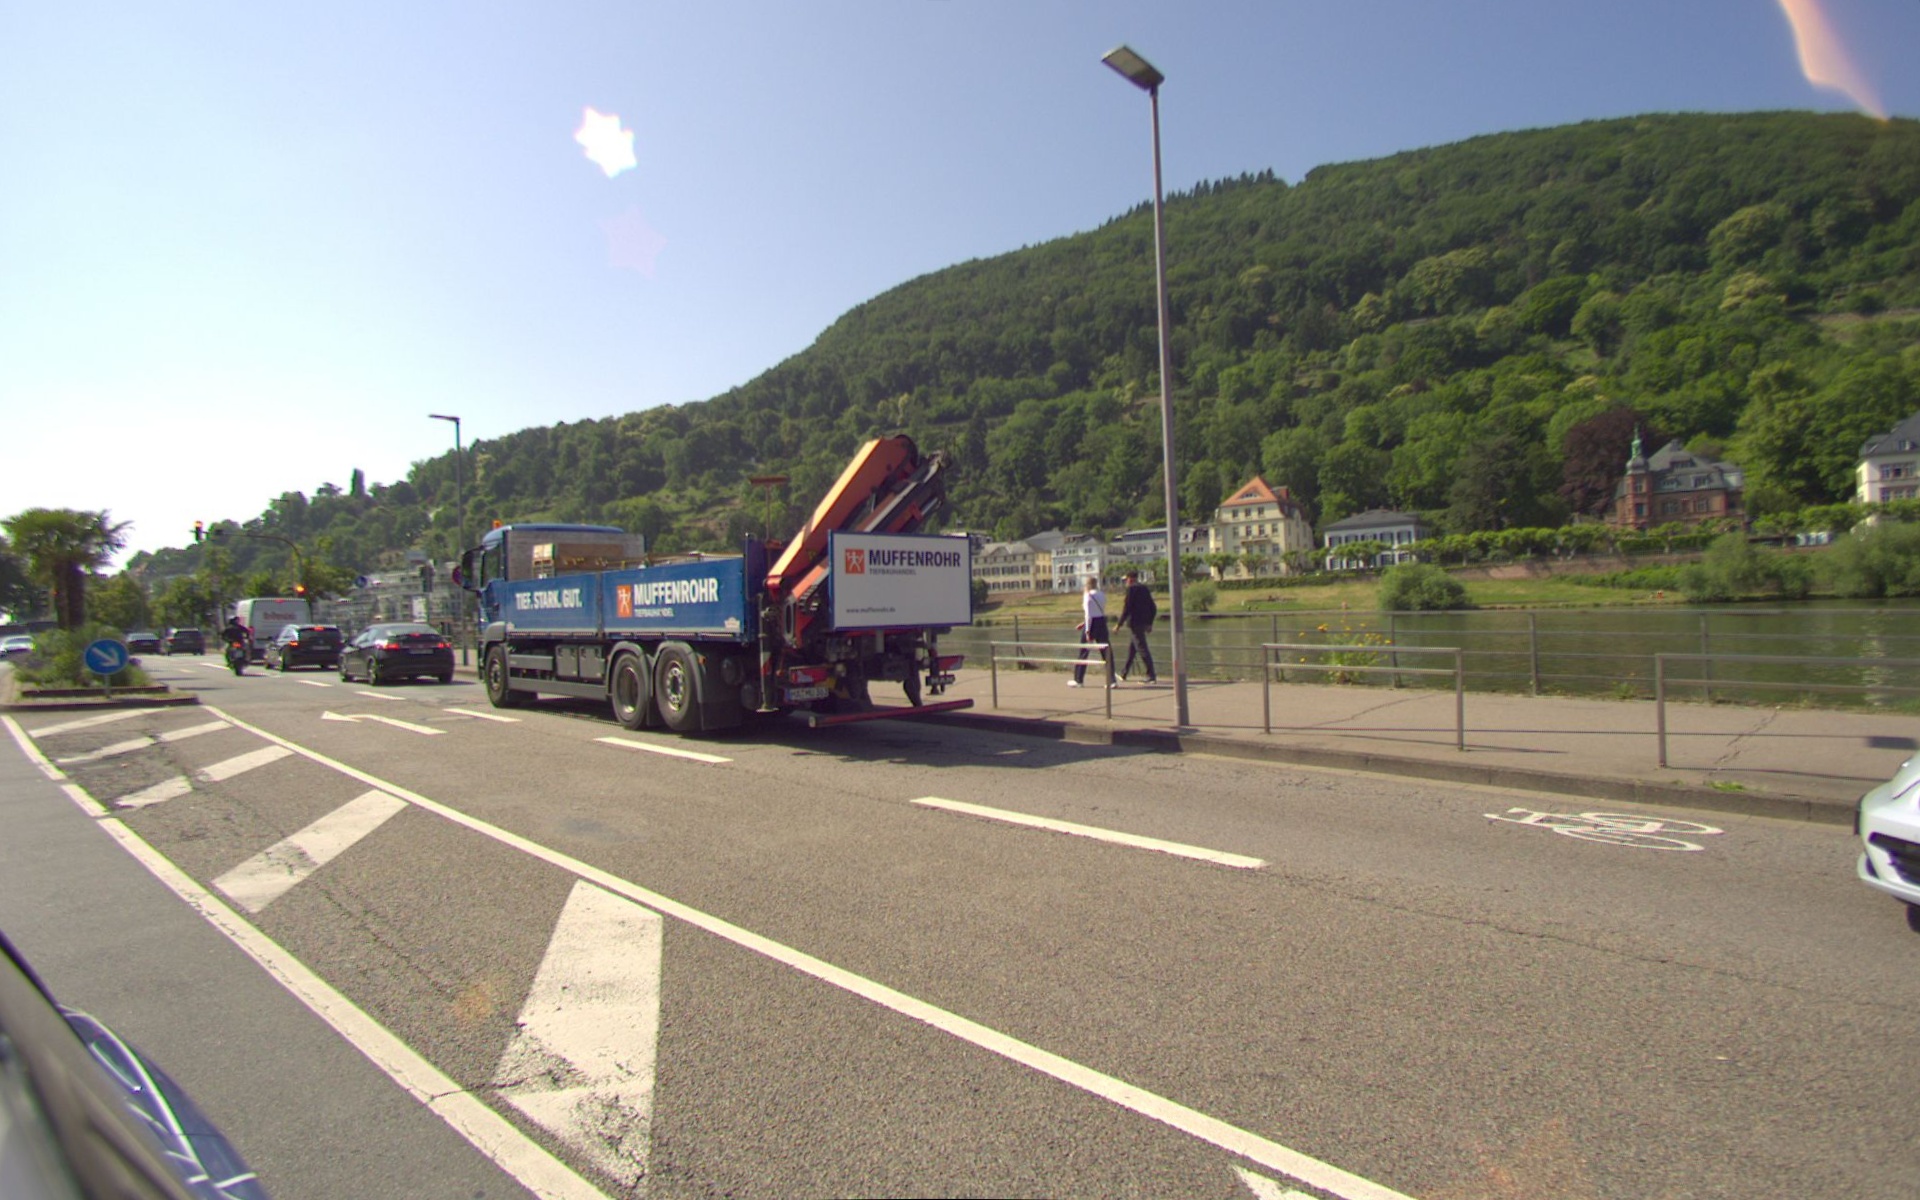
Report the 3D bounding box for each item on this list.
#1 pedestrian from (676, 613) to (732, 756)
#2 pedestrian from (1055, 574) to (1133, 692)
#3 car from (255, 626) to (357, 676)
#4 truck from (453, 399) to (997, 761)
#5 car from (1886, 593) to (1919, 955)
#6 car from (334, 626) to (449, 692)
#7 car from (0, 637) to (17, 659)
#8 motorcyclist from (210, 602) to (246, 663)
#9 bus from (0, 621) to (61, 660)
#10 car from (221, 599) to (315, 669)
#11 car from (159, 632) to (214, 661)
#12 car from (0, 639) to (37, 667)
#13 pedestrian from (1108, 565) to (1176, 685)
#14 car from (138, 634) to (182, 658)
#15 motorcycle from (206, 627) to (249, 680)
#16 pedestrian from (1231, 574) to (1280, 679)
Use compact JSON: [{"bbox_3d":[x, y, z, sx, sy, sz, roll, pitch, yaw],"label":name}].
[{"bbox_3d":[-2.780,0.898,10.984,0.346,1.496,0.415,-4,1,-42],"label":"pedestrian"},{"bbox_3d":[2.060,0.498,15.538,0.703,1.719,0.846,-4,1,-42],"label":"pedestrian"},{"bbox_3d":[-21.304,1.615,32.873,1.970,1.429,4.925,0,-1,-43],"label":"car"},{"bbox_3d":[-4.306,-0.055,14.785,2.610,3.503,11.119,0,-1,-42],"label":"truck"},{"bbox_3d":[5.805,0.658,3.293,1.757,1.454,4.001,0,-1,-44],"label":"car"},{"bbox_3d":[-13.976,1.377,24.777,1.637,1.447,4.086,0,-1,-42],"label":"car"},{"bbox_3d":[-70.287,3.483,73.821,4.594,1.517,1.971,-2,-2,45],"label":"car"},{"bbox_3d":[-20.797,0.912,28.736,0.693,1.537,0.862,-1,-15,-42],"label":"motorcyclist"},{"bbox_3d":[-85.734,3.732,93.210,10.781,3.413,2.623,-2,-1,39],"label":"bus"},{"bbox_3d":[-26.742,1.337,39.044,2.169,2.545,4.753,3,-4,-44],"label":"car"},{"bbox_3d":[-43.541,2.585,56.949,1.970,1.463,4.265,-2,0,-43],"label":"car"},{"bbox_3d":[-56.238,3.149,60.144,1.969,1.517,4.597,0,-2,-42],"label":"car"},{"bbox_3d":[2.866,0.382,15.927,0.758,1.817,0.636,-4,1,-42],"label":"pedestrian"},{"bbox_3d":[-52.250,2.967,66.065,1.969,1.469,4.649,0,-1,-42],"label":"car"},{"bbox_3d":[-20.586,1.477,28.421,0.717,1.397,2.515,0,-1,-42],"label":"motorcycle"},{"bbox_3d":[4.553,0.400,15.599,0.580,1.569,0.415,-4,1,-42],"label":"pedestrian"}]
